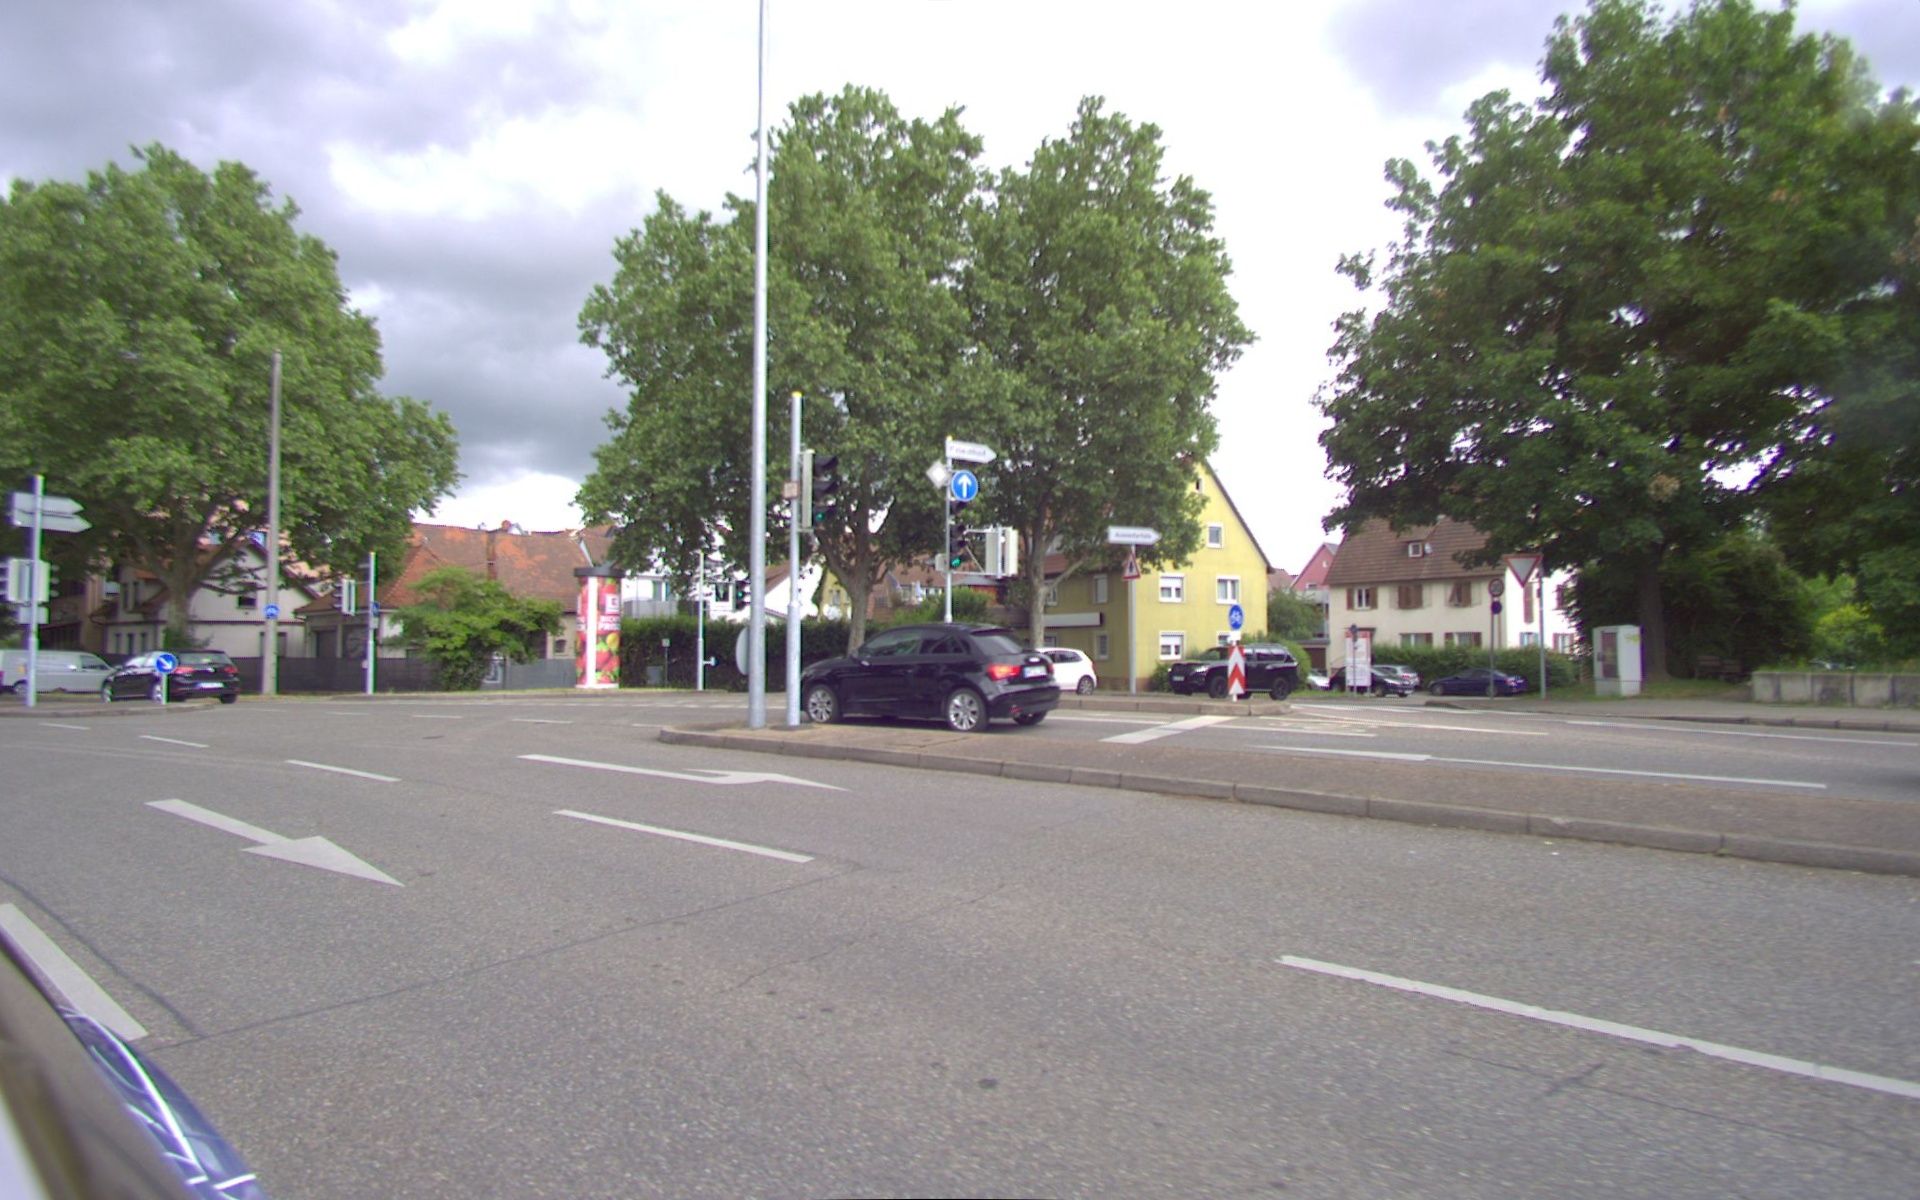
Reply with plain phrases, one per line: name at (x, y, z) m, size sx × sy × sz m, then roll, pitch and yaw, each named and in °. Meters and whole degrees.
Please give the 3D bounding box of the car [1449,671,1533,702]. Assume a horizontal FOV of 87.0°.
car at (27.115, 4.390, 51.768) m, size 1.521 × 1.420 × 3.449 m, roll 1°, pitch -3°, yaw -34°

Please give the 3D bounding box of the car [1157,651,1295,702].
car at (8.749, 2.495, 33.269) m, size 4.197 × 1.557 × 2.006 m, roll 2°, pitch -3°, yaw -29°

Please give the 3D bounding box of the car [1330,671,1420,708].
car at (20.012, 4.290, 48.925) m, size 1.734 × 1.576 × 3.744 m, roll 1°, pitch -3°, yaw -30°

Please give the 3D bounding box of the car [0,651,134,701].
car at (-38.080, 3.182, 42.299) m, size 2.065 × 1.946 × 5.216 m, roll -1°, pitch -5°, yaw 15°

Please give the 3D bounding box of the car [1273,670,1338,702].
car at (17.829, 4.414, 52.336) m, size 1.440 × 1.507 × 2.937 m, roll 1°, pitch -3°, yaw -31°

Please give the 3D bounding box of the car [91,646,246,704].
car at (-20.574, 1.921, 26.275) m, size 4.292 × 1.376 × 1.666 m, roll -2°, pitch -3°, yaw 29°

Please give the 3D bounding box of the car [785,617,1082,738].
car at (-0.438, 1.007, 13.772) m, size 3.887 × 1.427 × 1.602 m, roll -2°, pitch -3°, yaw 36°
